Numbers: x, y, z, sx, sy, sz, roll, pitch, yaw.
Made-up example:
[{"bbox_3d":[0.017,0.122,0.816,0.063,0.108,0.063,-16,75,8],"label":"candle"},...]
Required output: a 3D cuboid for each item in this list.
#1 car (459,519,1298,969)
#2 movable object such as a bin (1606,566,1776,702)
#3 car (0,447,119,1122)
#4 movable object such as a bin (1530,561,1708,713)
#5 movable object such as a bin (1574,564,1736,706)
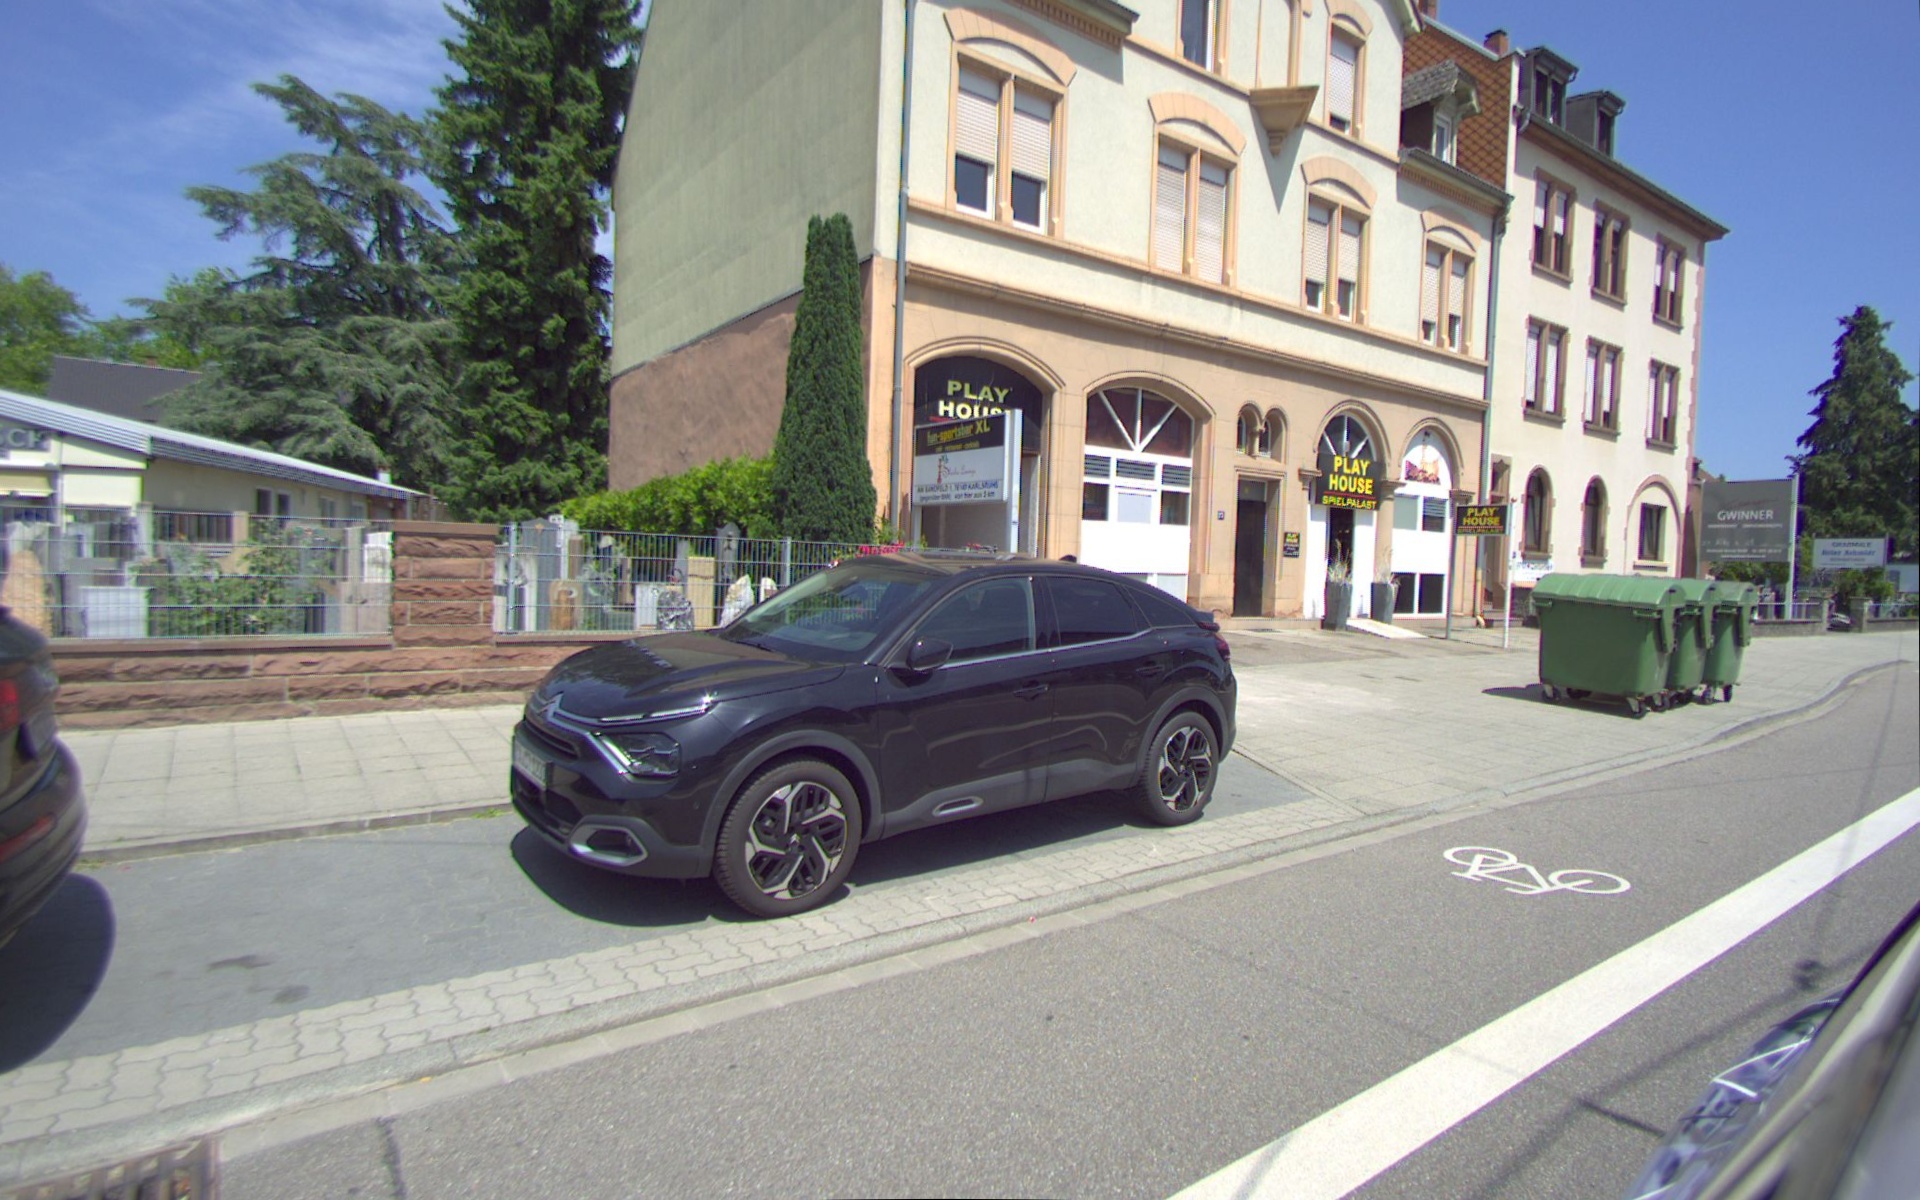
[{"bbox_3d":[-0.190,0.443,5.634,4.387,1.566,1.778,0,5,-39],"label":"car"},{"bbox_3d":[8.975,0.372,12.444,1.120,1.472,1.395,0,5,-42],"label":"movable object such as a bin"},{"bbox_3d":[-4.838,0.392,1.851,4.988,1.713,1.931,0,4,-38],"label":"car"},{"bbox_3d":[7.254,0.358,11.158,1.040,1.472,1.326,0,5,-42],"label":"movable object such as a bin"},{"bbox_3d":[8.095,0.366,11.806,1.040,1.472,1.250,0,5,-42],"label":"movable object such as a bin"}]
